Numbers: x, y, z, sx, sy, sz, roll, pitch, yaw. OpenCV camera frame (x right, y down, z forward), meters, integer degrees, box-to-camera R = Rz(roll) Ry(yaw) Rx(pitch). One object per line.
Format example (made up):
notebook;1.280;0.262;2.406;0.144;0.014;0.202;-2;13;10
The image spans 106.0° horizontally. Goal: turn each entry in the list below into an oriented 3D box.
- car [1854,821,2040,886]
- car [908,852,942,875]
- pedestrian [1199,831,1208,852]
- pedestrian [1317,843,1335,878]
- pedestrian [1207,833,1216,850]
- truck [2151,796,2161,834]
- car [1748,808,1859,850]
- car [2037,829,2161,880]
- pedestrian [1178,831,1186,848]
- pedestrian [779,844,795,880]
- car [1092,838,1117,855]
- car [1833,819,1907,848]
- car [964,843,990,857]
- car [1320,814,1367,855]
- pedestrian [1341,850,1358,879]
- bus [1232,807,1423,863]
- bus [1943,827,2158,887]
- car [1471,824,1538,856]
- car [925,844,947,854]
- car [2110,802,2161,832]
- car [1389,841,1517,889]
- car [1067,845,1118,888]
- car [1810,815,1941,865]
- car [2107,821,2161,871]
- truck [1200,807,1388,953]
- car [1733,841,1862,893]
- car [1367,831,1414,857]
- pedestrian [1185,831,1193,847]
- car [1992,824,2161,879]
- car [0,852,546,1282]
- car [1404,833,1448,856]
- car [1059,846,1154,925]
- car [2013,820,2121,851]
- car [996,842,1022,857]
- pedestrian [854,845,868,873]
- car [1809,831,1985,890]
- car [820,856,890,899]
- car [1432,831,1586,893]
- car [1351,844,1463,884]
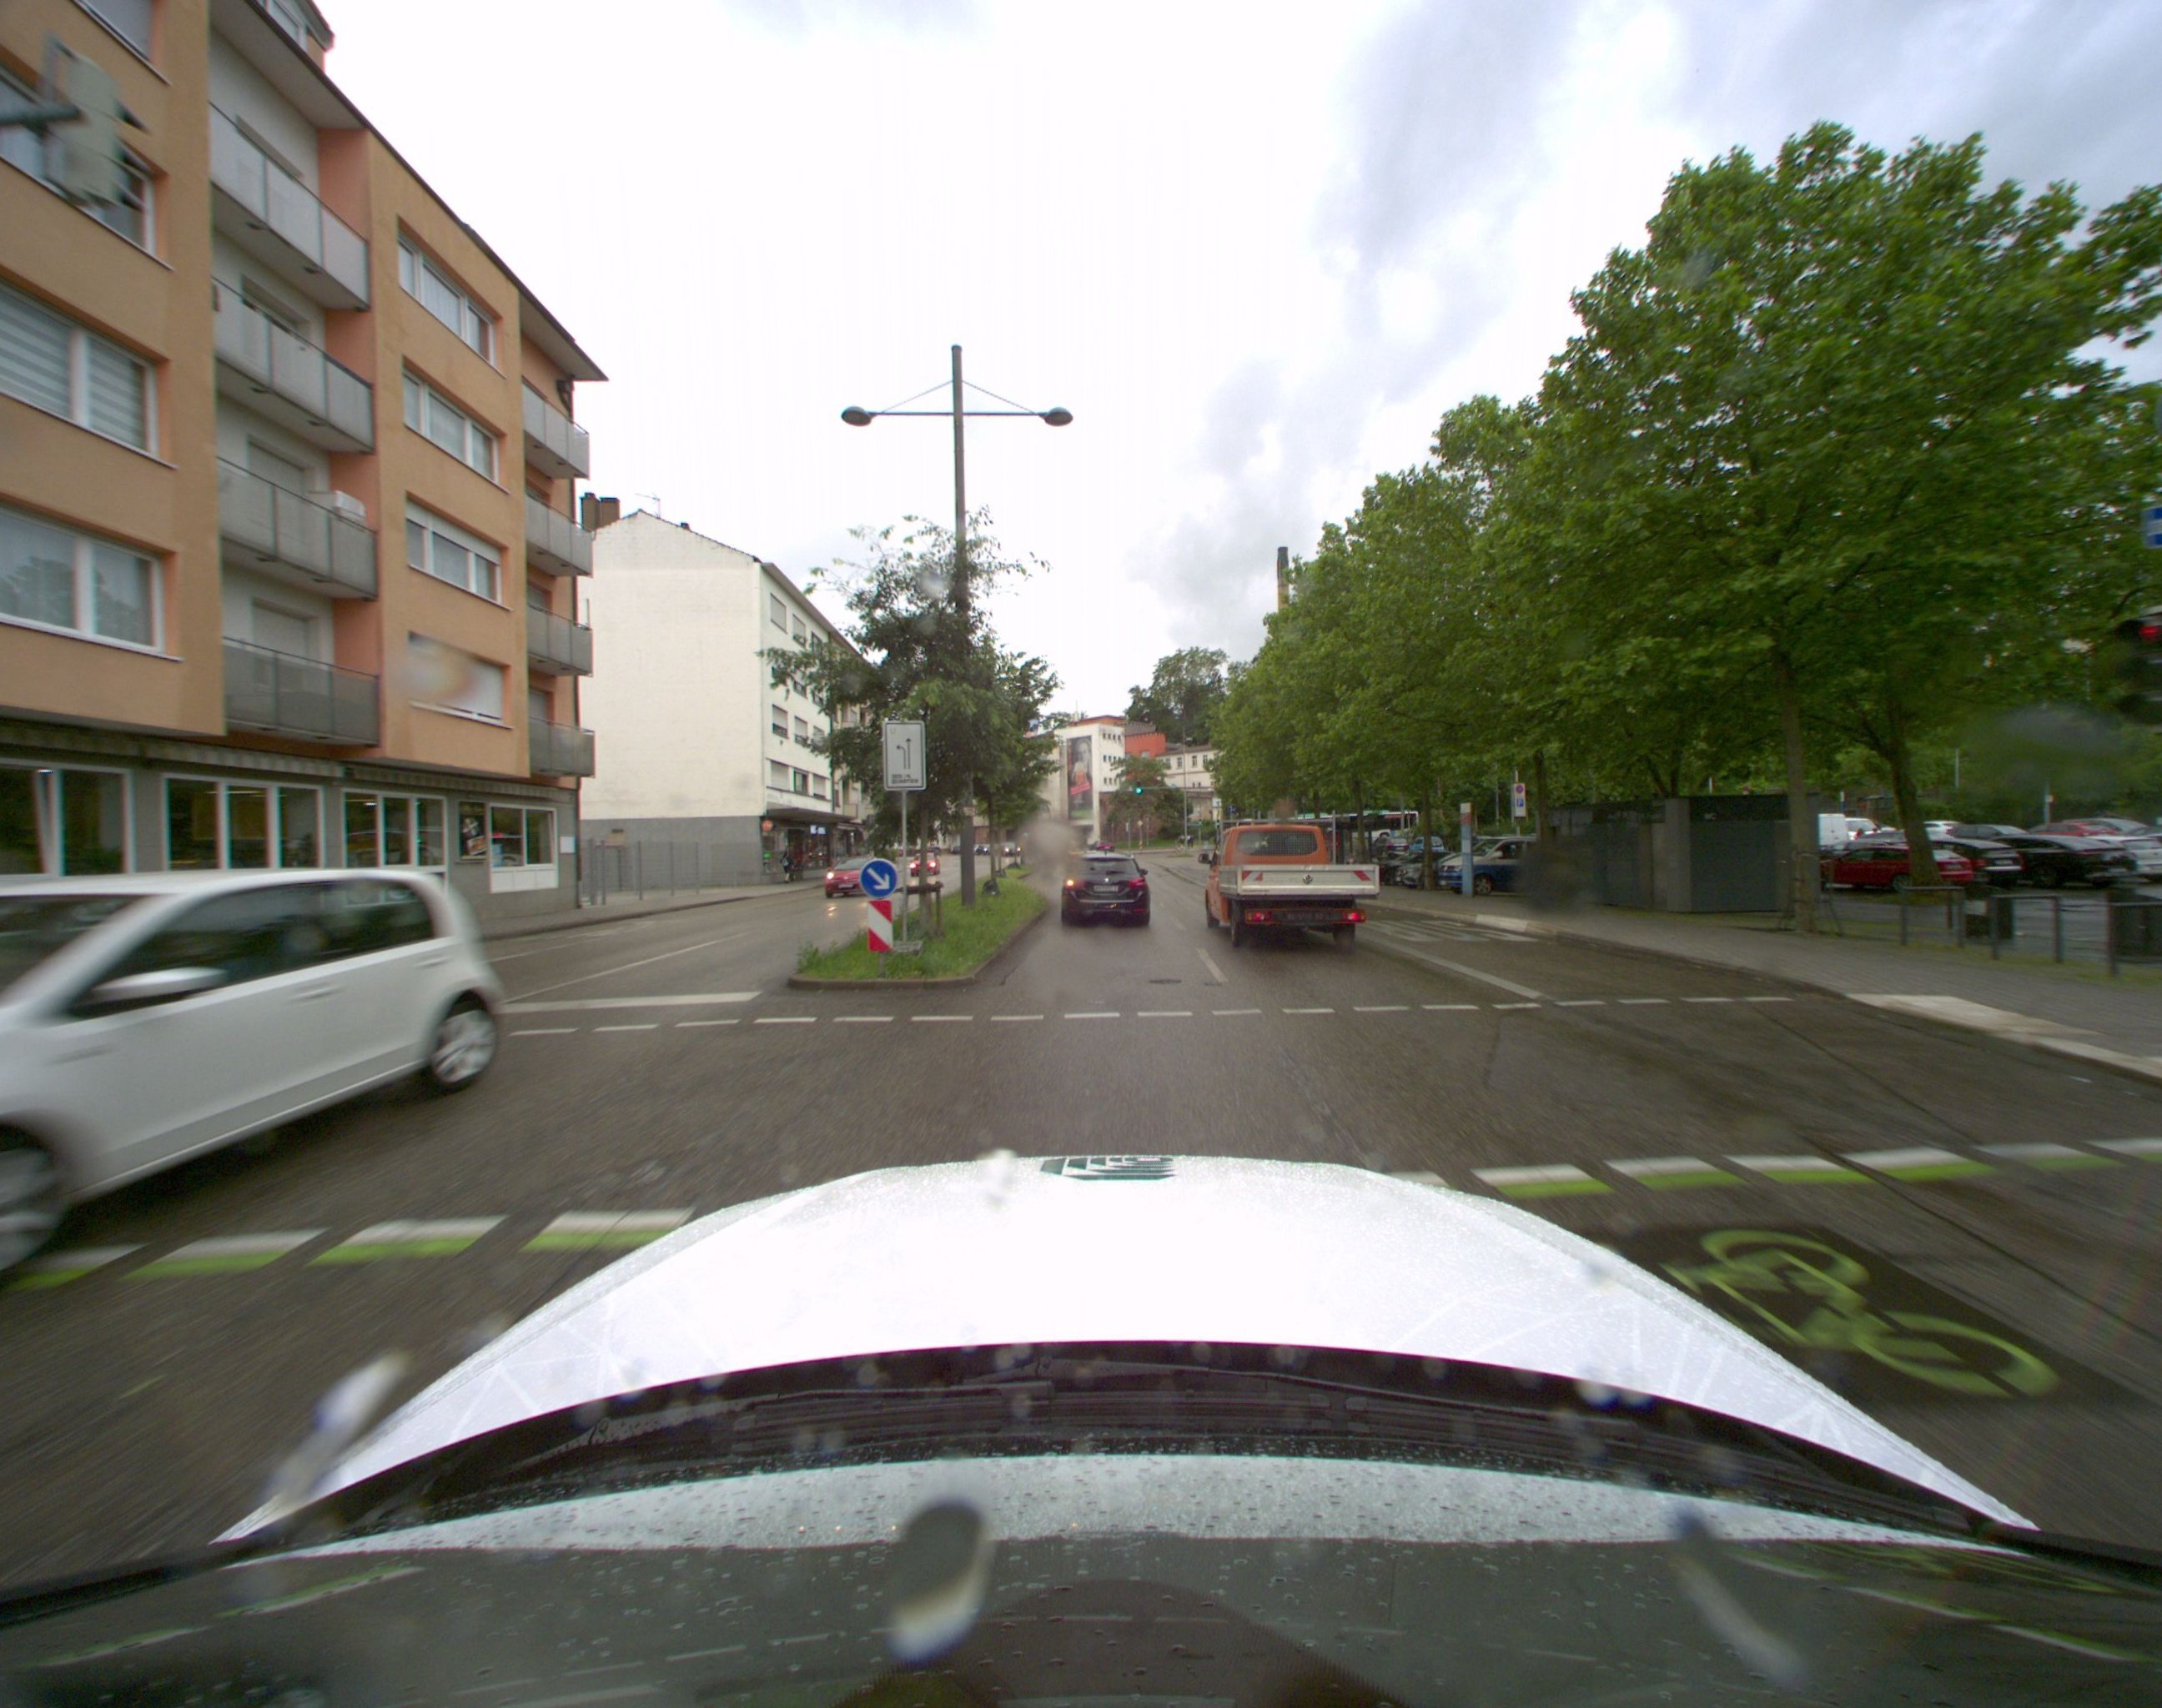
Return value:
car;27.689;0.033;26.257;1.820;1.904;4.001;1;-2;2
car;-10.253;0.614;53.801;1.687;1.401;3.658;-1;1;-3
pedestrian;12.043;-1.265;79.947;0.716;1.992;0.562;-2;2;-4
pedestrian;12.089;0.311;40.161;0.722;1.700;0.623;0;0;-1
pedestrian;12.843;-1.255;79.887;0.716;1.664;0.562;-2;2;-4
truck;65.168;-2.291;45.330;2.438;2.238;6.510;0;0;-6
car;37.051;-1.251;41.933;1.989;2.013;4.059;-1;0;-4
car;35.758;0.015;27.721;1.813;1.651;4.001;0;0;1
pedestrian;10.287;-1.498;83.216;0.638;1.664;0.562;-2;2;-4
pedestrian;-15.392;0.426;42.621;0.638;1.861;0.523;0;1;-4
car;2.448;-0.790;84.765;1.647;1.564;3.581;2;-2;-15
car;55.336;-1.407;57.232;1.872;1.922;4.014;-1;1;12
car;-14.734;-0.523;115.247;2.009;1.947;3.956;0;0;-36
car;19.614;-1.401;61.102;2.067;2.970;4.225;0;0;-1
pedestrian;13.057;0.501;39.629;0.619;1.357;0.726;0;0;0
bus;23.971;-1.846;79.858;17.858;5.211;3.099;0;0;0
bus;30.033;0.065;25.448;1.987;1.723;4.000;0;0;0
car;25.261;-0.791;48.756;1.899;1.737;3.719;2;-2;-5
car;-22.482;-0.747;126.512;1.609;1.510;3.556;0;0;-45
car;56.546;-1.947;42.440;1.648;1.515;3.413;-1;1;5
car;14.065;0.393;30.954;3.973;1.649;1.918;1;1;0
car;0.436;0.440;30.941;1.789;1.483;4.000;-1;1;1
car;35.562;-0.586;36.622;1.987;2.014;3.998;1;-2;0
car;37.991;-0.304;27.432;1.798;1.664;3.998;1;-2;0
truck;3.296;0.337;13.638;2.113;2.025;4.719;0;1;3
car;28.855;0.551;32.972;1.820;1.904;4.001;1;-2;2
car;22.900;-0.728;60.452;1.825;1.826;4.225;0;0;-1
pedestrian;11.067;-1.544;83.307;0.638;1.664;0.562;-2;2;-4
car;32.817;-0.077;26.559;1.813;1.651;4.001;0;0;1
car;-4.649;0.765;4.049;1.649;1.449;3.541;-1;1;-2
car;25.448;-0.674;60.227;1.676;1.618;3.648;0;0;-1
car;0.513;0.582;17.395;1.789;1.483;4.000;0;0;1
car;51.071;-0.941;42.275;1.648;1.515;3.413;-1;1;5
car;-8.070;-0.529;90.915;1.653;1.564;3.568;2;-2;-27
pedestrian;-16.095;0.395;59.522;0.731;2.014;0.650;3;-2;-36
car;25.330;0.188;25.458;1.594;1.651;3.628;-2;1;-8
car;-8.460;0.840;30.797;1.661;1.399;3.873;-2;1;-3
car;13.824;0.247;26.479;3.973;1.924;1.970;0;0;0
car;13.532;0.386;33.940;3.973;1.509;1.743;1;1;0
